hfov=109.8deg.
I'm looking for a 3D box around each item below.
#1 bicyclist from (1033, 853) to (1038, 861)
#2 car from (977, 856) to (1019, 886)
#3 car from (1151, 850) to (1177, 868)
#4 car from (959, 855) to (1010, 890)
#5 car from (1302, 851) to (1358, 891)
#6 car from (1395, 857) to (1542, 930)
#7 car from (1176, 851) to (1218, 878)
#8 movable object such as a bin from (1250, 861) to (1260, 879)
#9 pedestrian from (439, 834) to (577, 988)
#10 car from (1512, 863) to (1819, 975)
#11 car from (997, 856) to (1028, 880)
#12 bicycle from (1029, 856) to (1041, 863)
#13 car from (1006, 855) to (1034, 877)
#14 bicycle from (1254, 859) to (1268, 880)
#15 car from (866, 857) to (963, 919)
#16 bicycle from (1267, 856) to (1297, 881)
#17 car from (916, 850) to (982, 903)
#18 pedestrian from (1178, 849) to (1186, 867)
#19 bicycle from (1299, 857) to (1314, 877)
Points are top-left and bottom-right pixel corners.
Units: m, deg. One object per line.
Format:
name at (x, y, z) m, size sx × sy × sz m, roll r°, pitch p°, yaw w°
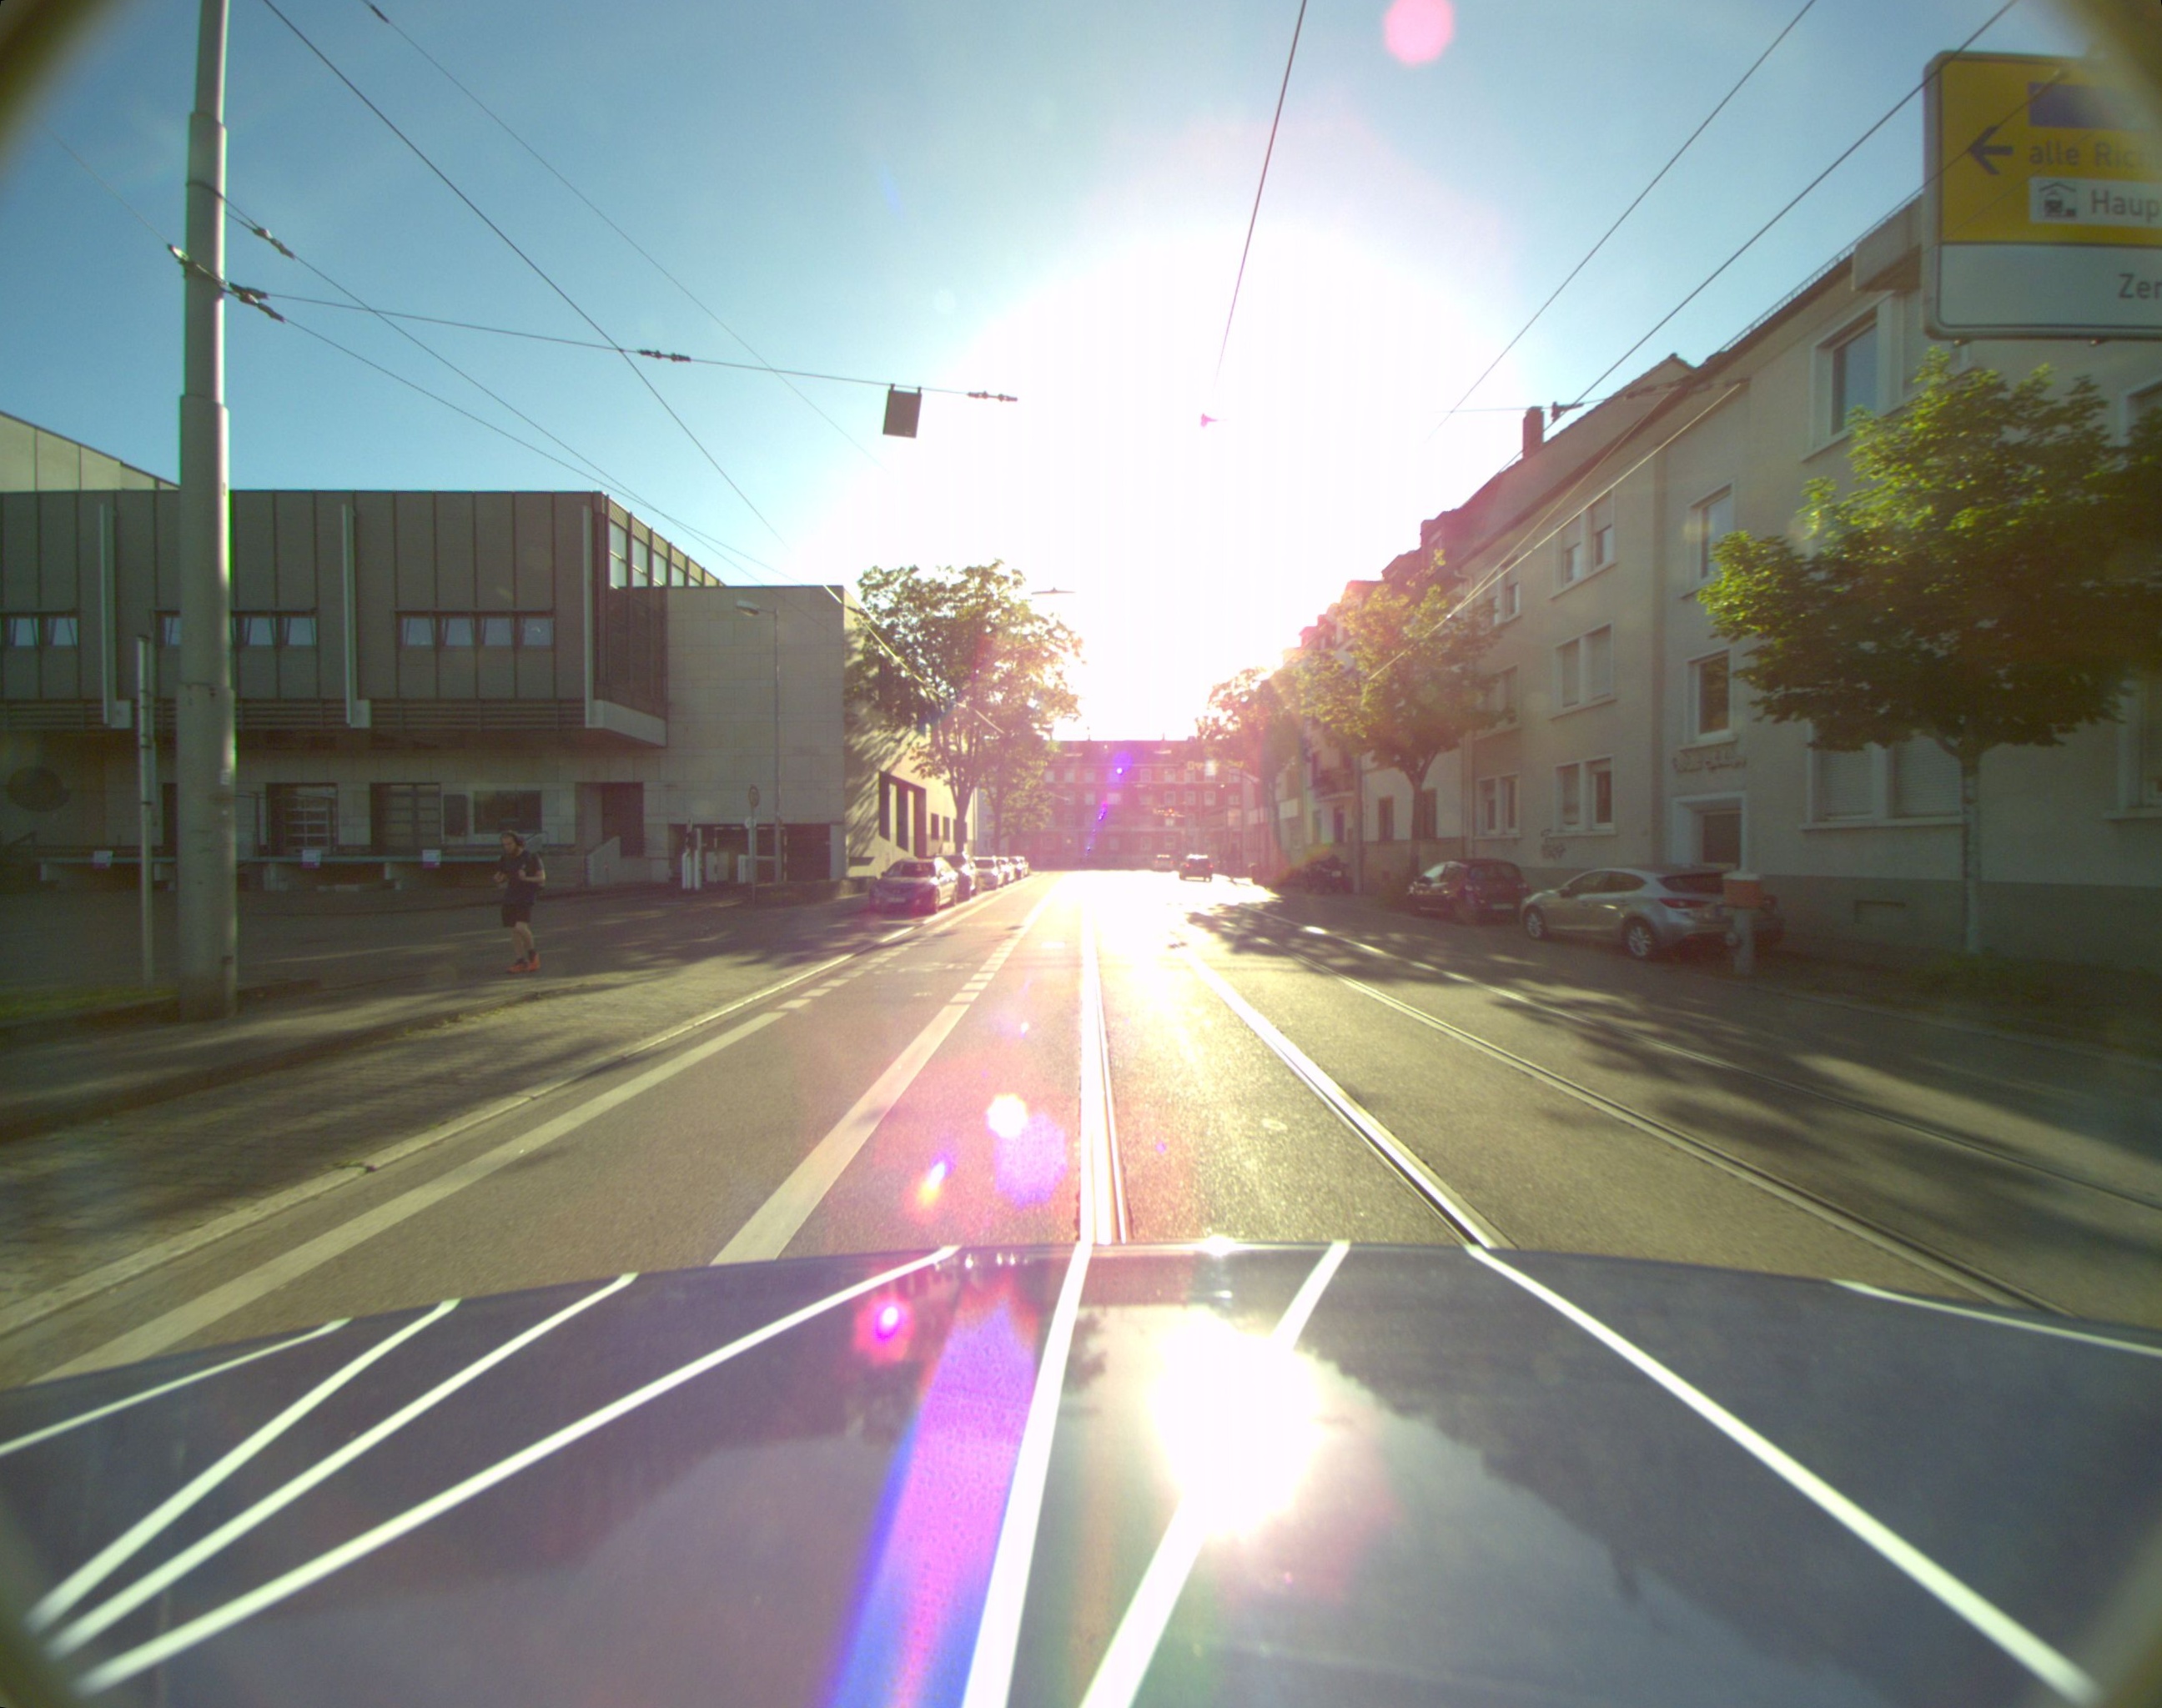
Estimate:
bicyclist at (-6.728, 0.406, 111.606) m, size 0.668 × 1.217 × 0.554 m, roll -1°, pitch 1°, yaw 0°
car at (-4.418, 0.875, 41.024) m, size 1.713 × 1.400 × 4.328 m, roll 1°, pitch 1°, yaw 0°
car at (7.504, 0.450, 69.040) m, size 1.923 × 1.516 × 3.999 m, roll -1°, pitch 1°, yaw 1°
car at (-4.378, 0.817, 34.983) m, size 1.717 × 1.481 × 4.623 m, roll 1°, pitch 0°, yaw 0°
car at (9.733, 0.681, 29.870) m, size 1.358 × 1.493 × 2.548 m, roll -1°, pitch -2°, yaw 1°
car at (9.285, 0.872, 18.590) m, size 1.576 × 1.496 × 3.999 m, roll -1°, pitch 1°, yaw 1°
car at (6.955, 0.602, 45.903) m, size 1.770 × 1.455 × 4.746 m, roll 1°, pitch 1°, yaw -1°
movable object such as a bin at (9.263, 0.843, 40.468) m, size 0.425 × 0.930 × 0.582 m, roll -1°, pitch 1°, yaw 1°
pedestrian at (-7.207, 0.667, 9.631) m, size 0.672 × 1.779 × 1.304 m, roll 4°, pitch 1°, yaw 0°
car at (9.376, 0.933, 12.752) m, size 1.878 × 1.421 × 4.292 m, roll -1°, pitch 1°, yaw 1°
car at (-4.432, 0.864, 49.716) m, size 1.682 × 1.400 × 4.660 m, roll 1°, pitch 1°, yaw -1°
bicycle at (-6.725, 0.755, 111.622) m, size 1.676 × 0.943 × 0.554 m, roll -1°, pitch 1°, yaw 0°
car at (-4.457, 0.821, 55.792) m, size 1.654 × 1.471 × 3.999 m, roll -1°, pitch 1°, yaw 1°
bicycle at (9.263, 0.782, 39.171) m, size 0.303 × 1.036 × 1.661 m, roll -1°, pitch 1°, yaw 1°
car at (-4.661, 0.883, 21.979) m, size 1.706 × 1.473 × 4.657 m, roll 2°, pitch 1°, yaw 0°
bicycle at (9.815, 0.697, 37.045) m, size 1.344 × 1.163 × 0.409 m, roll -1°, pitch 1°, yaw 1°
car at (-4.651, 0.727, 27.257) m, size 1.746 × 1.702 × 4.276 m, roll -1°, pitch 1°, yaw -2°
pedestrian at (9.620, 0.367, 72.643) m, size 0.640 × 1.764 × 0.583 m, roll -1°, pitch 1°, yaw 1°
bicycle at (12.069, 0.684, 40.675) m, size 0.303 × 1.036 × 1.661 m, roll -1°, pitch 1°, yaw 1°
